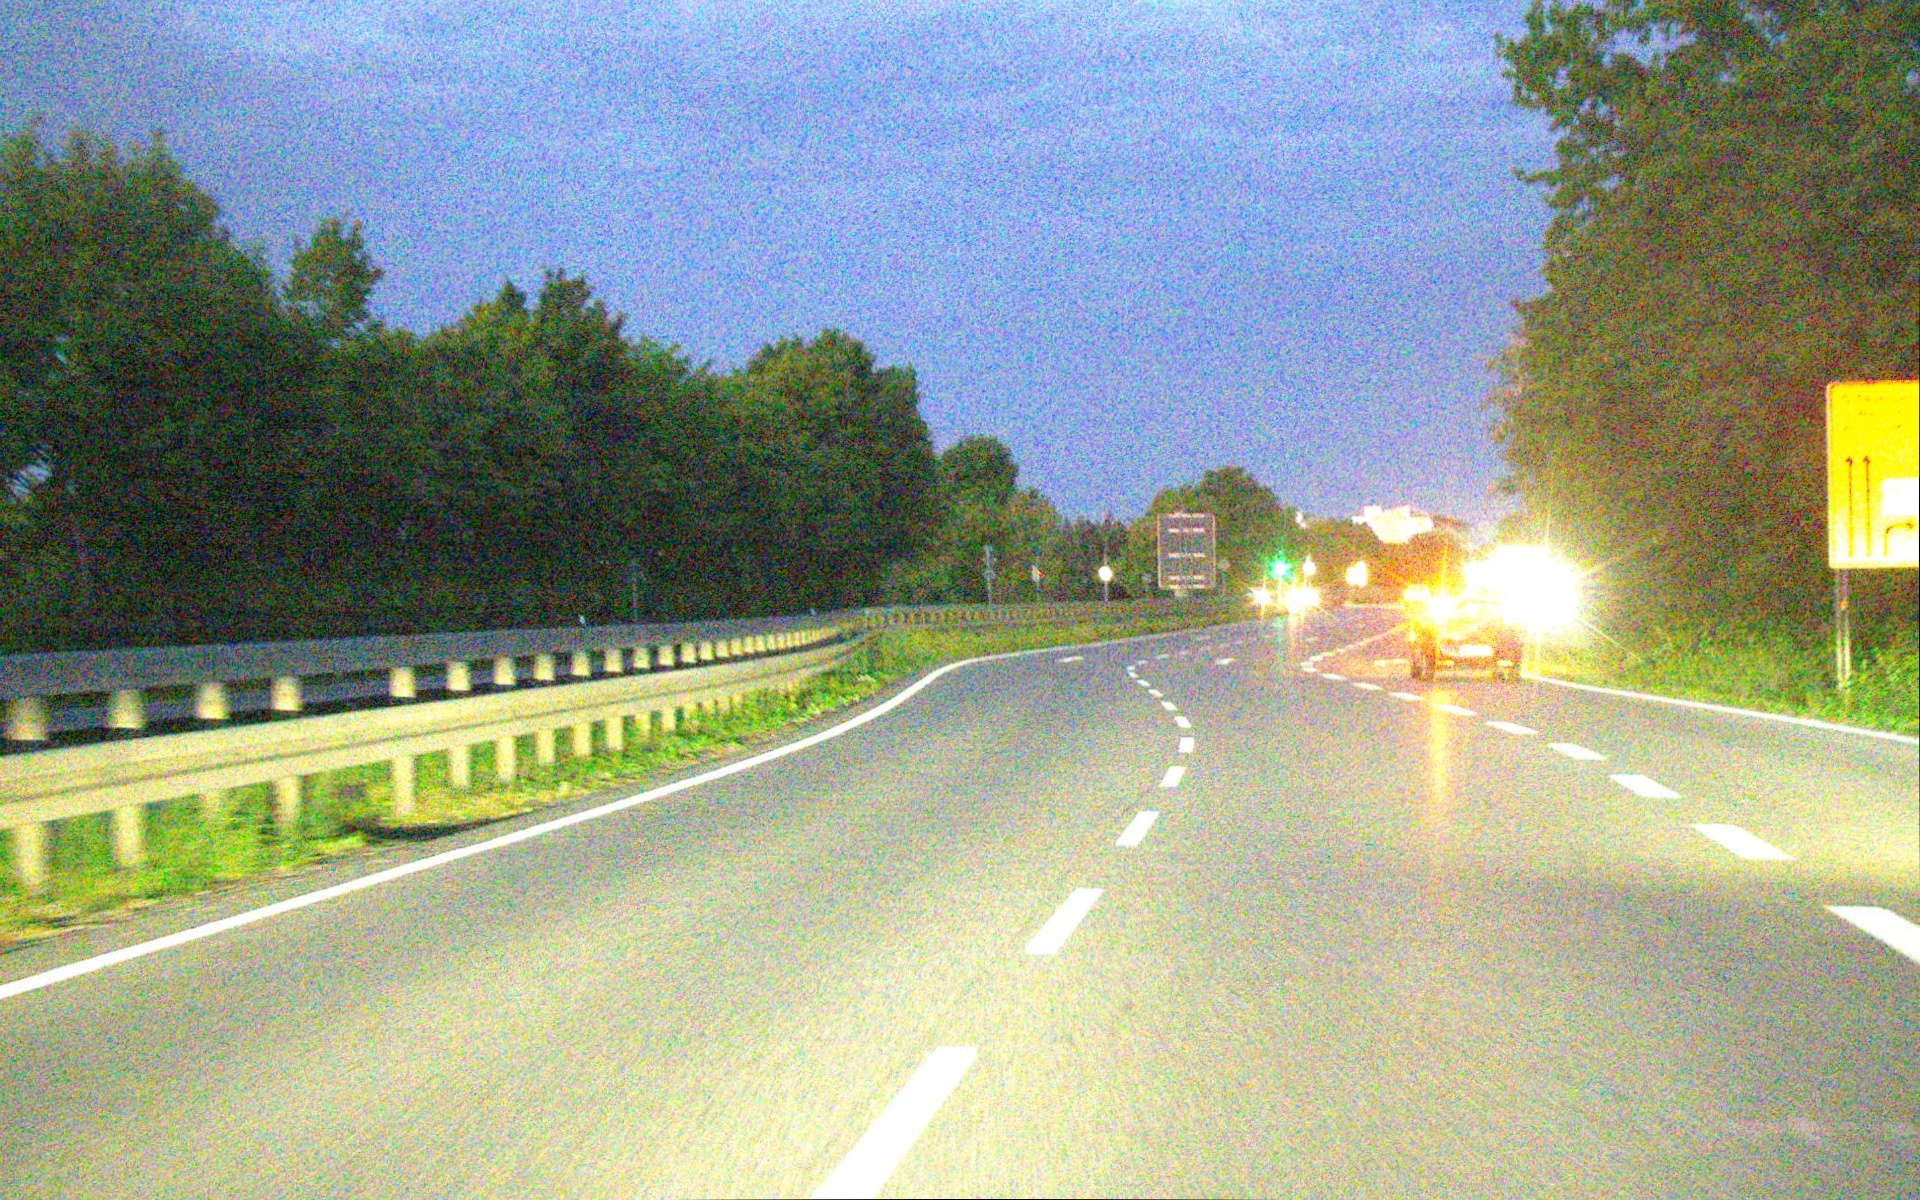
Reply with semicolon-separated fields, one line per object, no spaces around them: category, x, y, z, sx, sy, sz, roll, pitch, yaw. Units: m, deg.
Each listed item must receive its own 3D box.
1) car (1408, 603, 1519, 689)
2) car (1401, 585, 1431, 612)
car;8.787;0.778;60.269;1.753;1.448;4.432;0;0;6
car;32.701;-0.066;246.531;1.994;1.744;3.998;-4;-1;8
